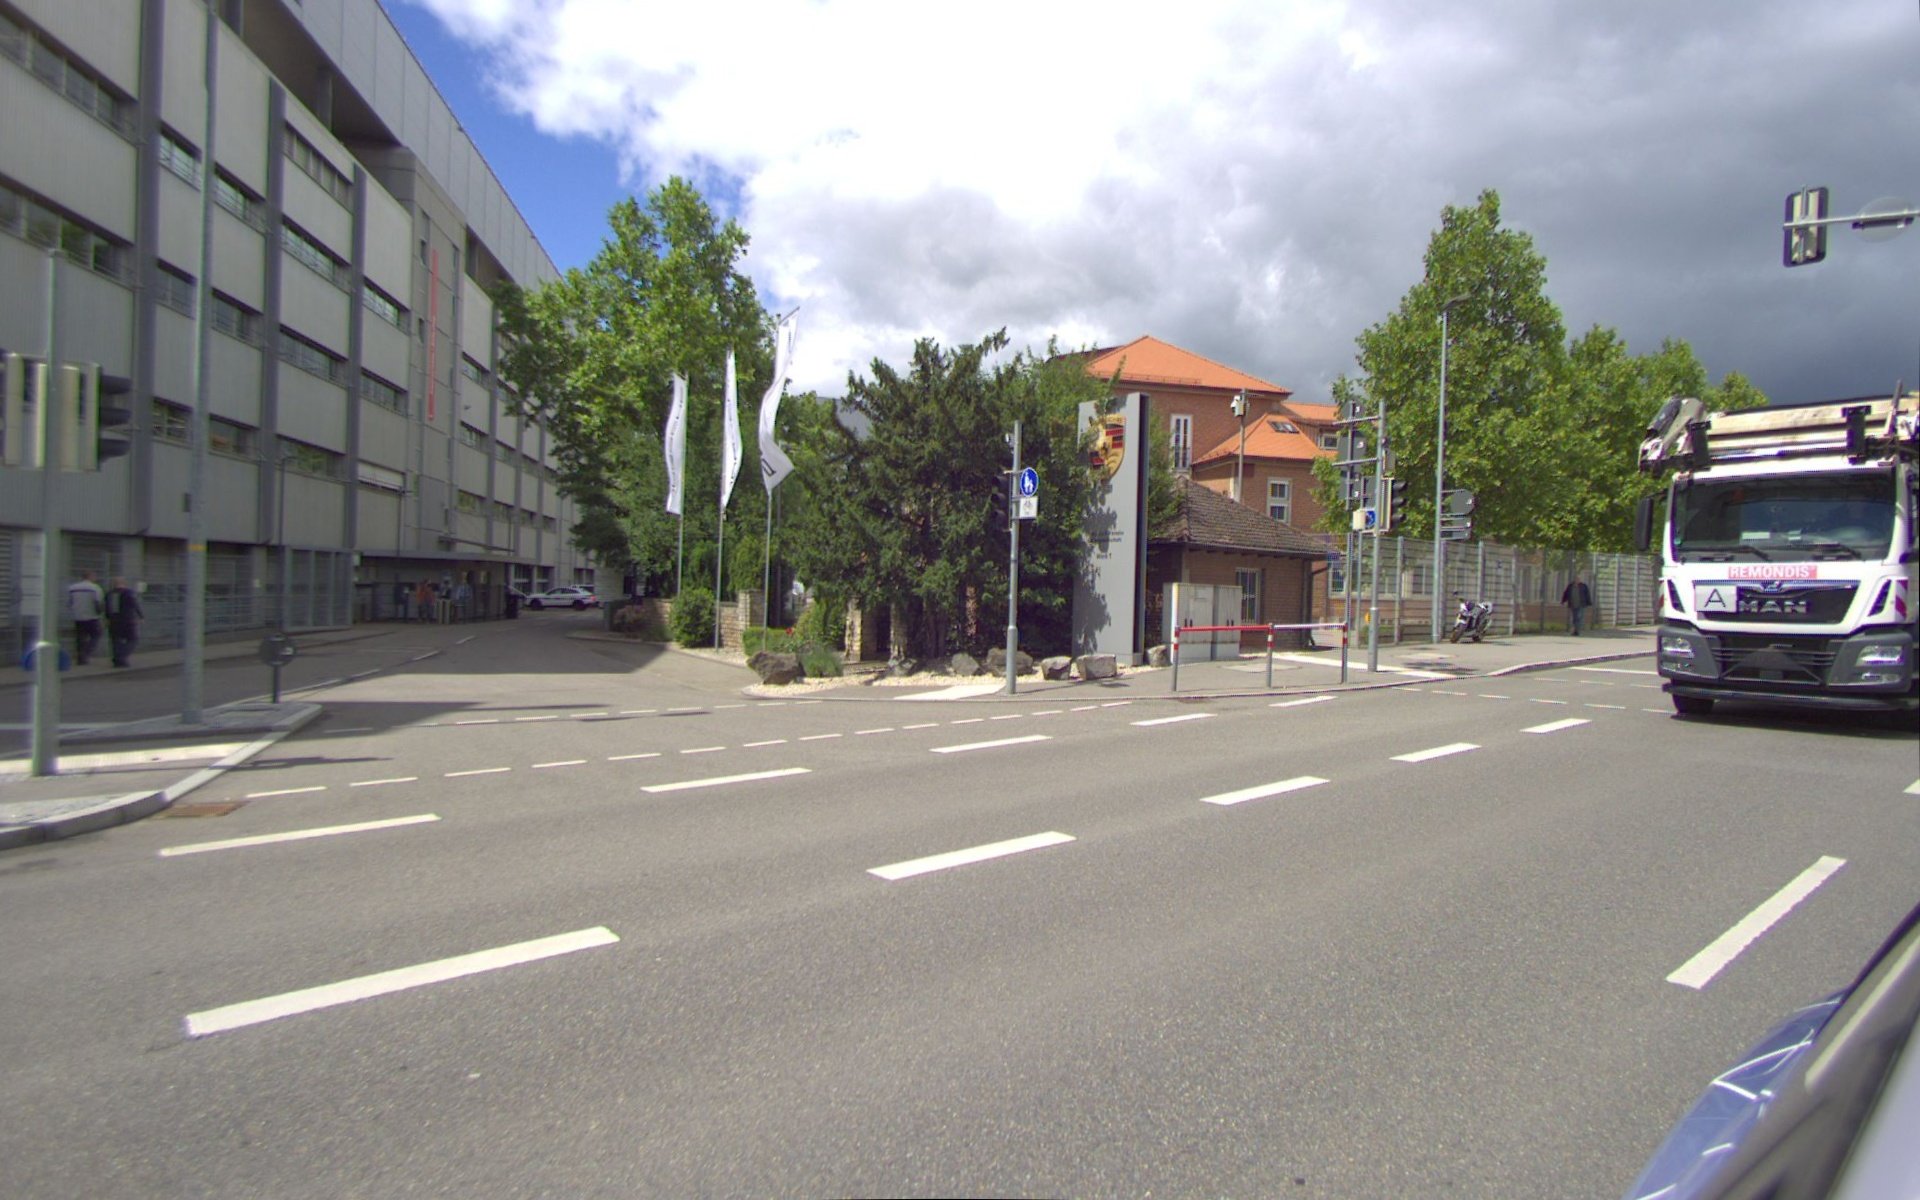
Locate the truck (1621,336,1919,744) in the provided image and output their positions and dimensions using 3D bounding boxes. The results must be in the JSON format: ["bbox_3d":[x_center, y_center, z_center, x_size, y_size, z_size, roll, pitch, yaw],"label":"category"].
[{"bbox_3d":[12.503,-0.637,14.135,10.554,3.934,2.711,-1,0,-41],"label":"truck"}]

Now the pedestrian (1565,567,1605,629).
[{"bbox_3d":[18.399,-0.064,29.781,0.998,1.788,0.728,0,0,-41],"label":"pedestrian"}]

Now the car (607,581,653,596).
[{"bbox_3d":[-35.554,-1.222,109.171,4.486,1.556,2.003,0,0,-10],"label":"car"}]

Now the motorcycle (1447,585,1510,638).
[{"bbox_3d":[12.713,0.255,24.779,2.137,1.241,0.570,-1,3,-41],"label":"motorcycle"}]

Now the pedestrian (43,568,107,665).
[{"bbox_3d":[-16.772,0.298,19.194,0.624,1.802,0.746,0,0,-12],"label":"pedestrian"}]

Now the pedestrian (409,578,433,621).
[{"bbox_3d":[-21.906,-0.031,41.160,0.739,1.714,0.747,0,0,-18],"label":"pedestrian"}]

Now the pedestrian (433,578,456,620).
[{"bbox_3d":[-21.461,-0.049,42.152,0.739,1.714,0.747,0,0,-18],"label":"pedestrian"}]

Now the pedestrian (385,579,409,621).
[{"bbox_3d":[-23.106,-0.003,41.528,0.739,1.714,0.747,0,0,-18],"label":"pedestrian"}]

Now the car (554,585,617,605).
[{"bbox_3d":[-30.216,-0.392,81.832,4.486,1.556,2.003,0,0,-10],"label":"car"}]

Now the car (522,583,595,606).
[{"bbox_3d":[-28.591,-0.392,72.194,4.486,1.556,2.003,0,0,-10],"label":"car"}]

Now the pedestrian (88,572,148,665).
[{"bbox_3d":[-16.101,0.336,19.360,0.605,1.744,0.746,0,0,-12],"label":"pedestrian"}]

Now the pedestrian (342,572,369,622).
[{"bbox_3d":[-23.700,-0.124,39.694,0.739,1.913,0.747,0,0,-18],"label":"pedestrian"}]

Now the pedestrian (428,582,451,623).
[{"bbox_3d":[-22.307,0.101,43.392,0.739,1.714,0.747,0,0,-18],"label":"pedestrian"}]
